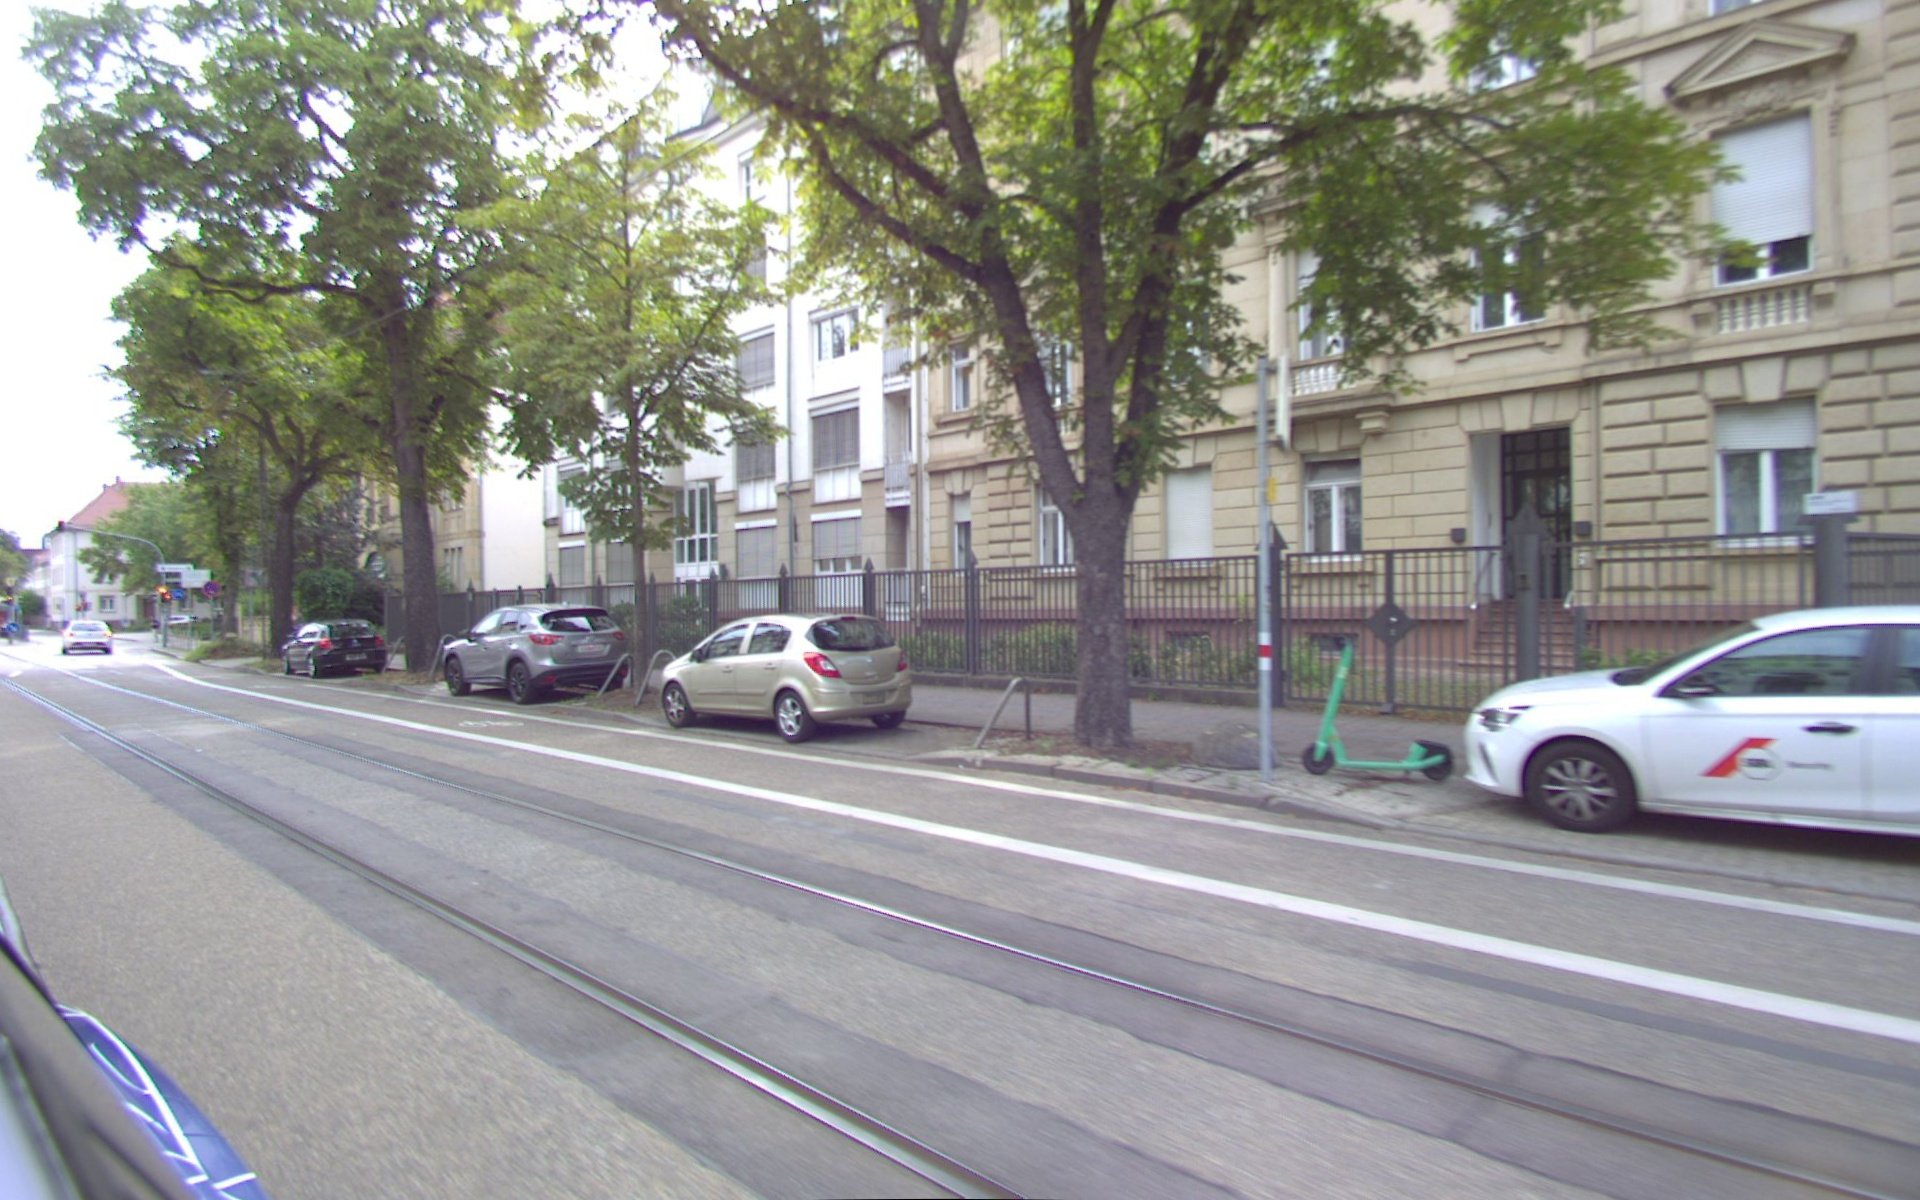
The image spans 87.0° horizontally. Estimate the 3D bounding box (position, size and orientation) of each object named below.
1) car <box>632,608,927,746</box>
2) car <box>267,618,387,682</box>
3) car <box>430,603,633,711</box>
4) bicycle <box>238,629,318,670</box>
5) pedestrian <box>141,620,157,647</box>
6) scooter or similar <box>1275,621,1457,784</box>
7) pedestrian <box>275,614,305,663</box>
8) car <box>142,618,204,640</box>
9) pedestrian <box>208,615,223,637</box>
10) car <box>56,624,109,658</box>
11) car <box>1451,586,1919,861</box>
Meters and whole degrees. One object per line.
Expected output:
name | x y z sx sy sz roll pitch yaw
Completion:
car | -2.441 0.879 13.024 4.079 1.479 1.583 -1 0 43
car | -16.655 1.258 26.550 4.168 1.435 1.701 -1 2 45
car | -7.777 0.945 18.172 4.356 1.686 1.692 -1 0 43
bicycle | -21.989 1.582 32.676 0.826 1.184 2.229 -2 0 10
pedestrian | -51.977 2.129 64.842 0.711 1.703 0.646 -1 -1 39
scooter or similar | 3.272 0.805 8.251 1.313 1.232 0.559 -1 0 20
pedestrian | -24.420 1.401 36.906 0.700 1.748 0.698 -2 0 38
car | -73.945 2.717 95.114 4.130 1.878 1.858 -2 0 -12
pedestrian | -68.993 2.413 93.825 0.850 2.029 0.766 -2 0 -13
car | -38.318 1.756 44.169 1.552 1.427 4.003 2 -3 -43
car | 5.508 0.671 6.374 4.022 1.434 1.703 -1 2 42
